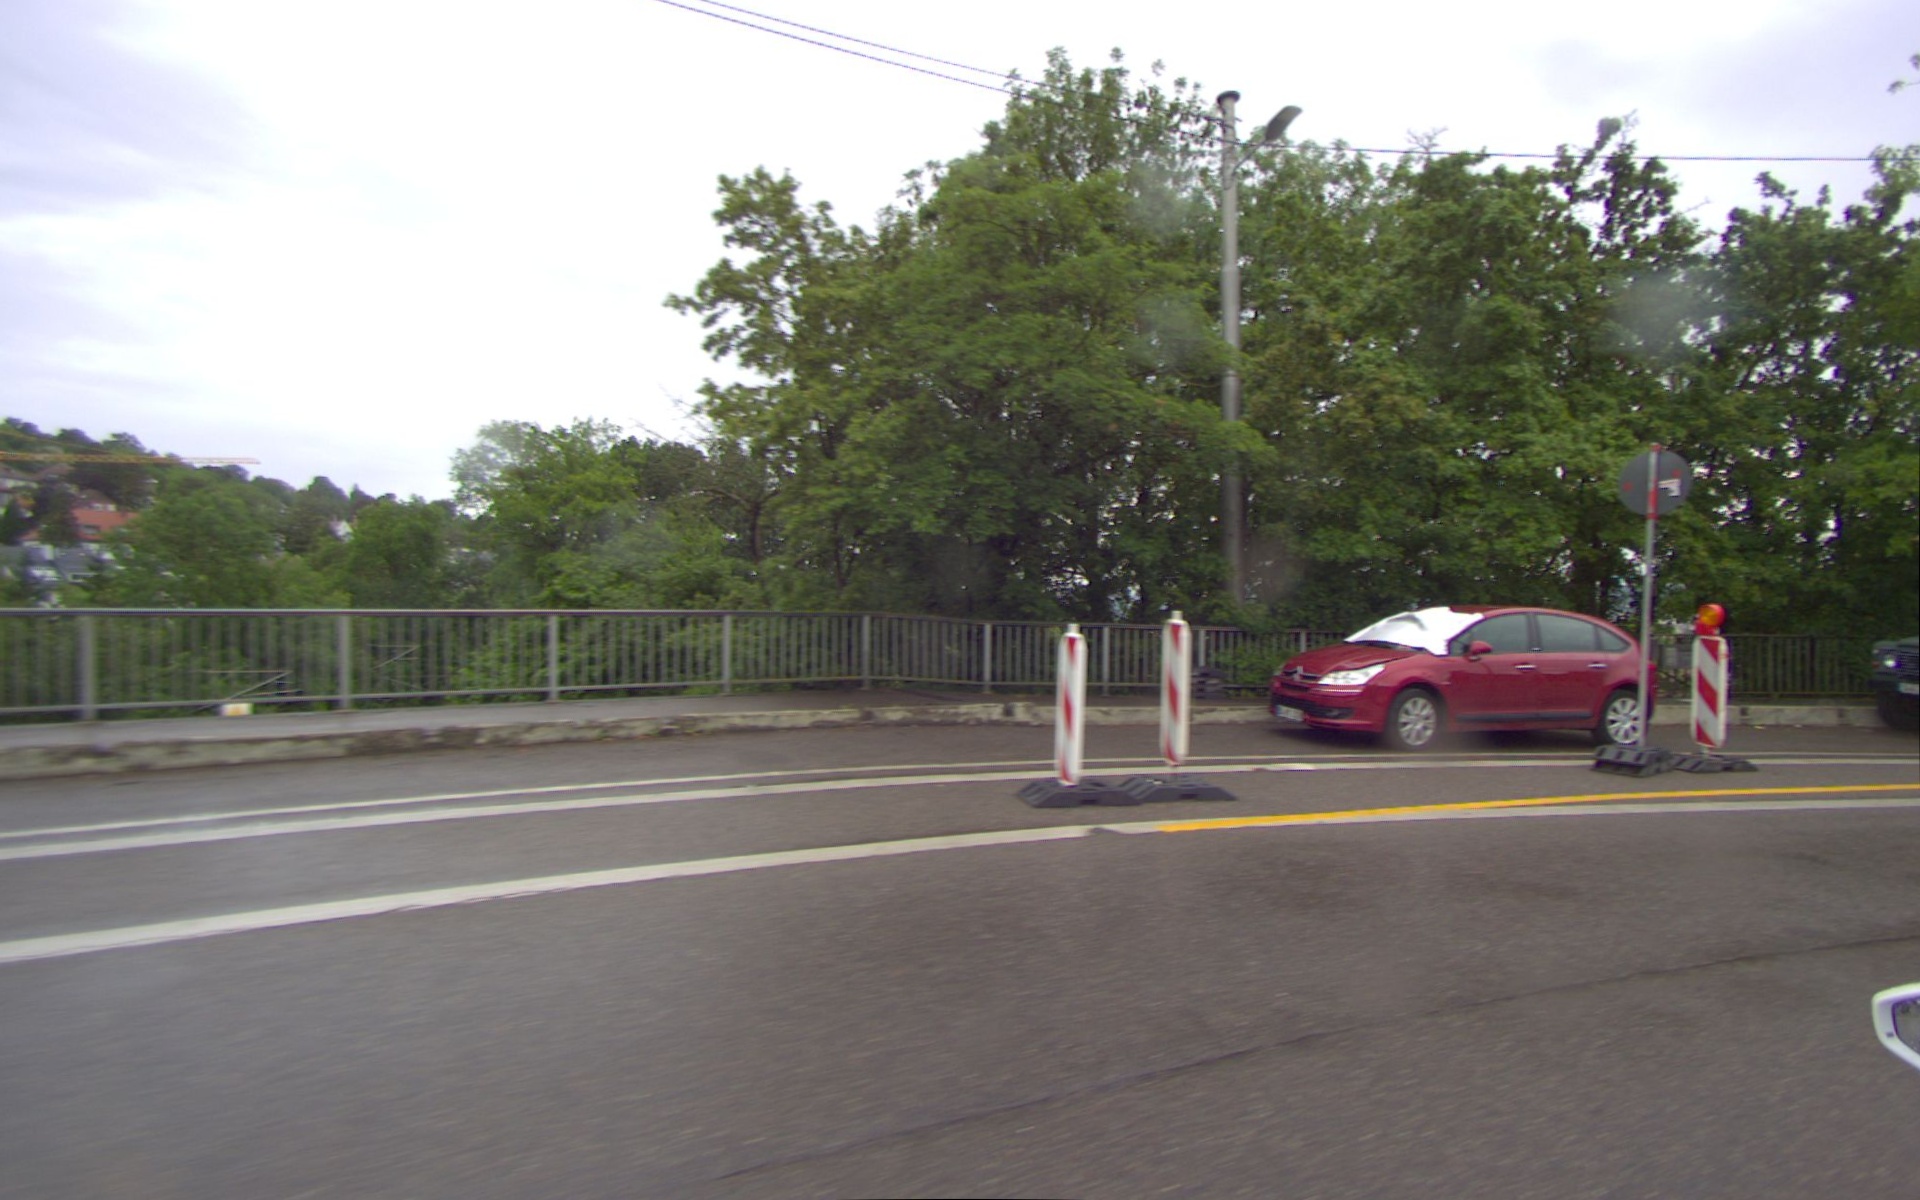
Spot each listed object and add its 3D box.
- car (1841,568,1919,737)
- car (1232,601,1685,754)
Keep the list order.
[{"bbox_3d":[13.940,0.672,12.300,4.720,2.041,1.870,1,1,-3],"label":"car"},{"bbox_3d":[5.449,0.791,11.197,4.248,1.459,1.961,1,1,-13],"label":"car"}]
